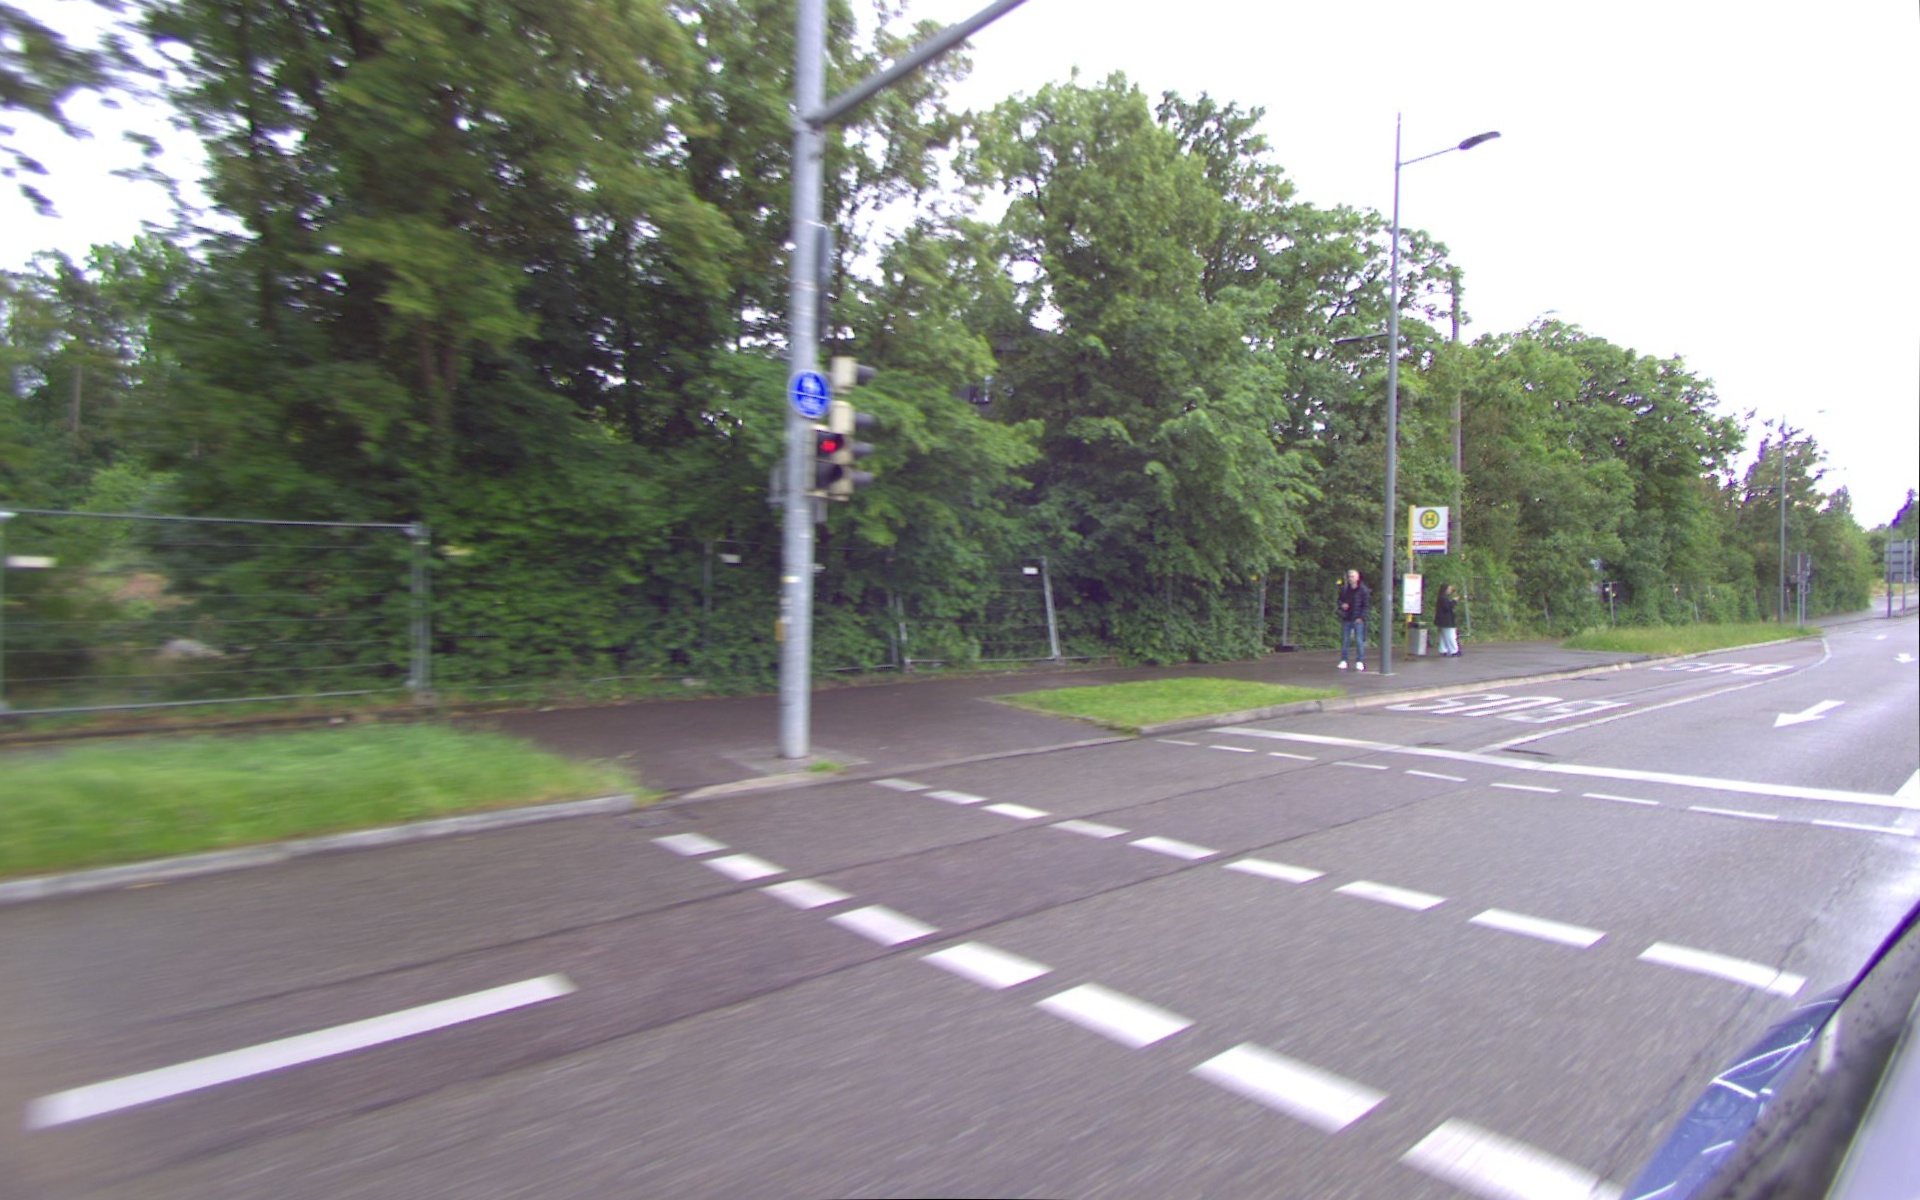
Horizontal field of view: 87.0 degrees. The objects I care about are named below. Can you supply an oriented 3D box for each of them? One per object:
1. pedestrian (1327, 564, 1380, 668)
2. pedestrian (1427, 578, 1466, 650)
[{"bbox_3d":[7.638,0.297,19.652,0.587,1.973,0.742,0,1,-40],"label":"pedestrian"},{"bbox_3d":[11.363,0.312,23.625,0.650,1.648,0.588,0,1,-41],"label":"pedestrian"}]
